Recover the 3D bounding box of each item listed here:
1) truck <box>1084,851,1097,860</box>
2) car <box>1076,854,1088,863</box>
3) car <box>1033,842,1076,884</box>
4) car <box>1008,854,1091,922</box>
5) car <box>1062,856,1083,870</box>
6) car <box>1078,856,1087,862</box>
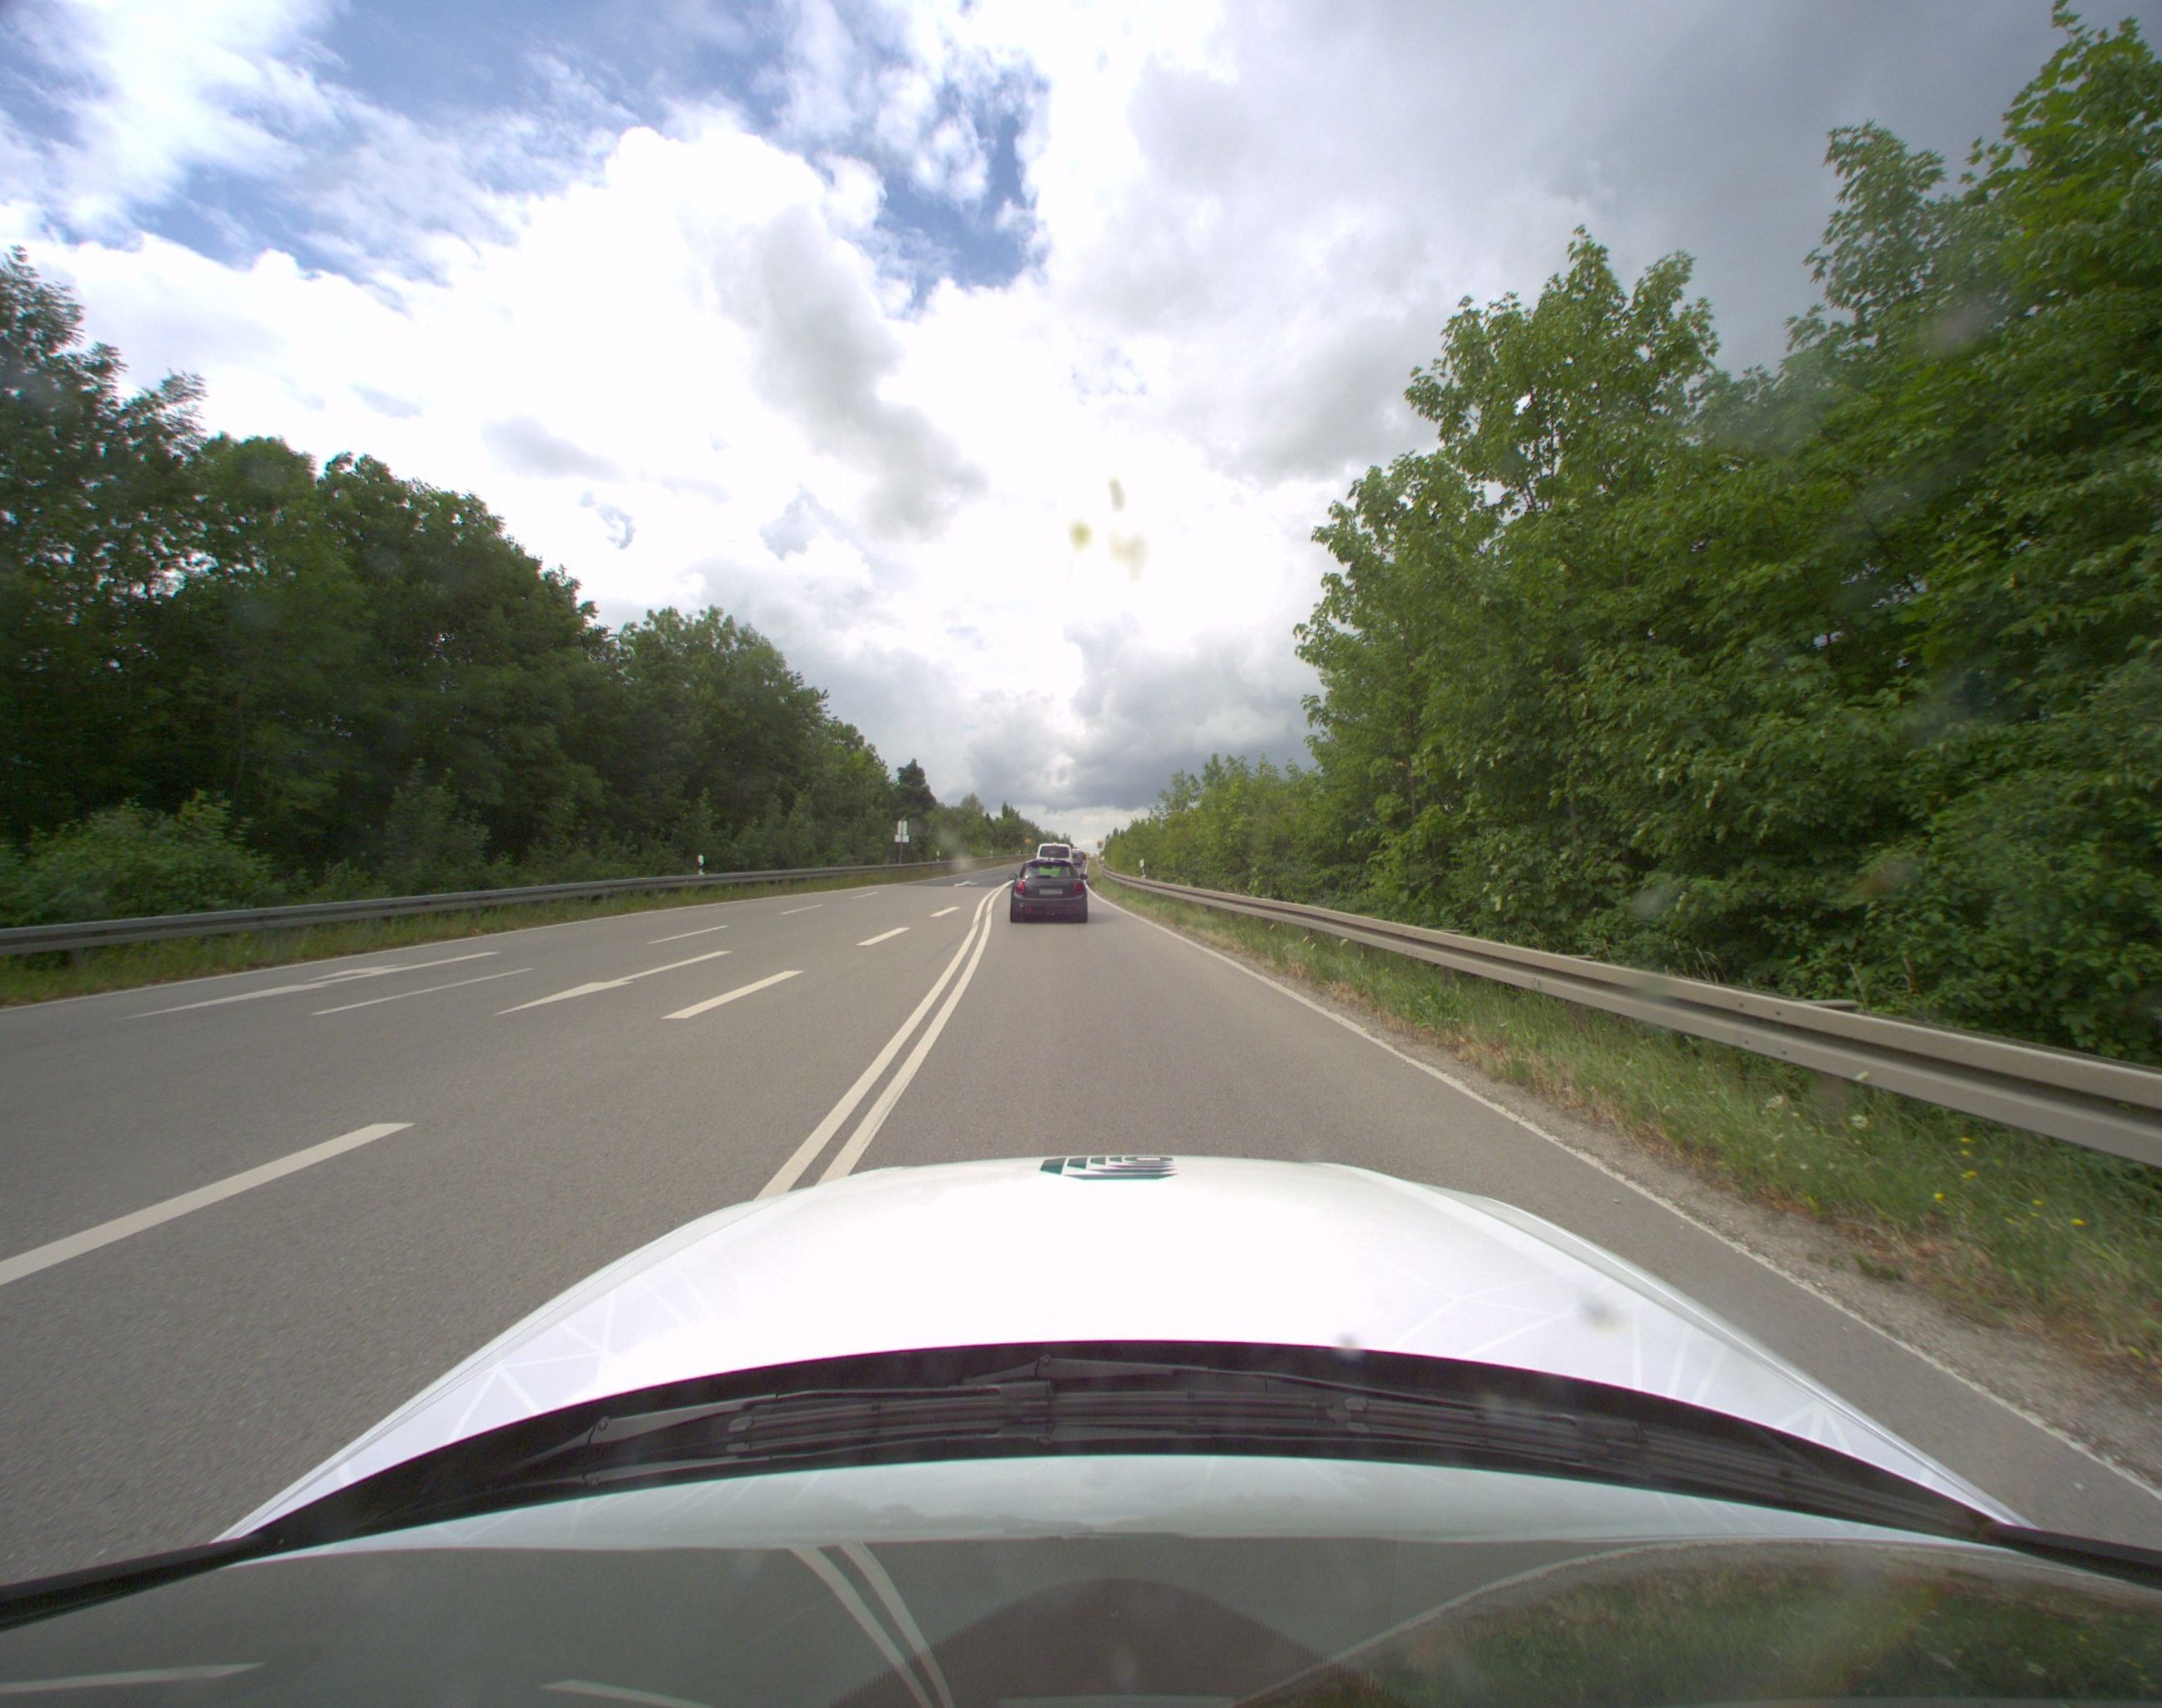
[{"bbox_3d":[2.562,0.413,218.041,2.898,2.372,10.459,-1,0,3],"label":"truck"},{"bbox_3d":[0.165,0.735,134.589,1.687,1.319,4.003,0,0,3],"label":"car"},{"bbox_3d":[-1.344,0.421,40.669,2.017,2.013,3.996,0,0,-3],"label":"car"},{"bbox_3d":[-0.848,0.736,19.580,1.730,1.456,3.991,0,0,-6],"label":"car"},{"bbox_3d":[-0.798,0.839,78.548,1.687,1.222,4.004,0,0,3],"label":"car"},{"bbox_3d":[0.297,1.118,177.503,1.687,1.319,4.003,0,0,3],"label":"car"}]
